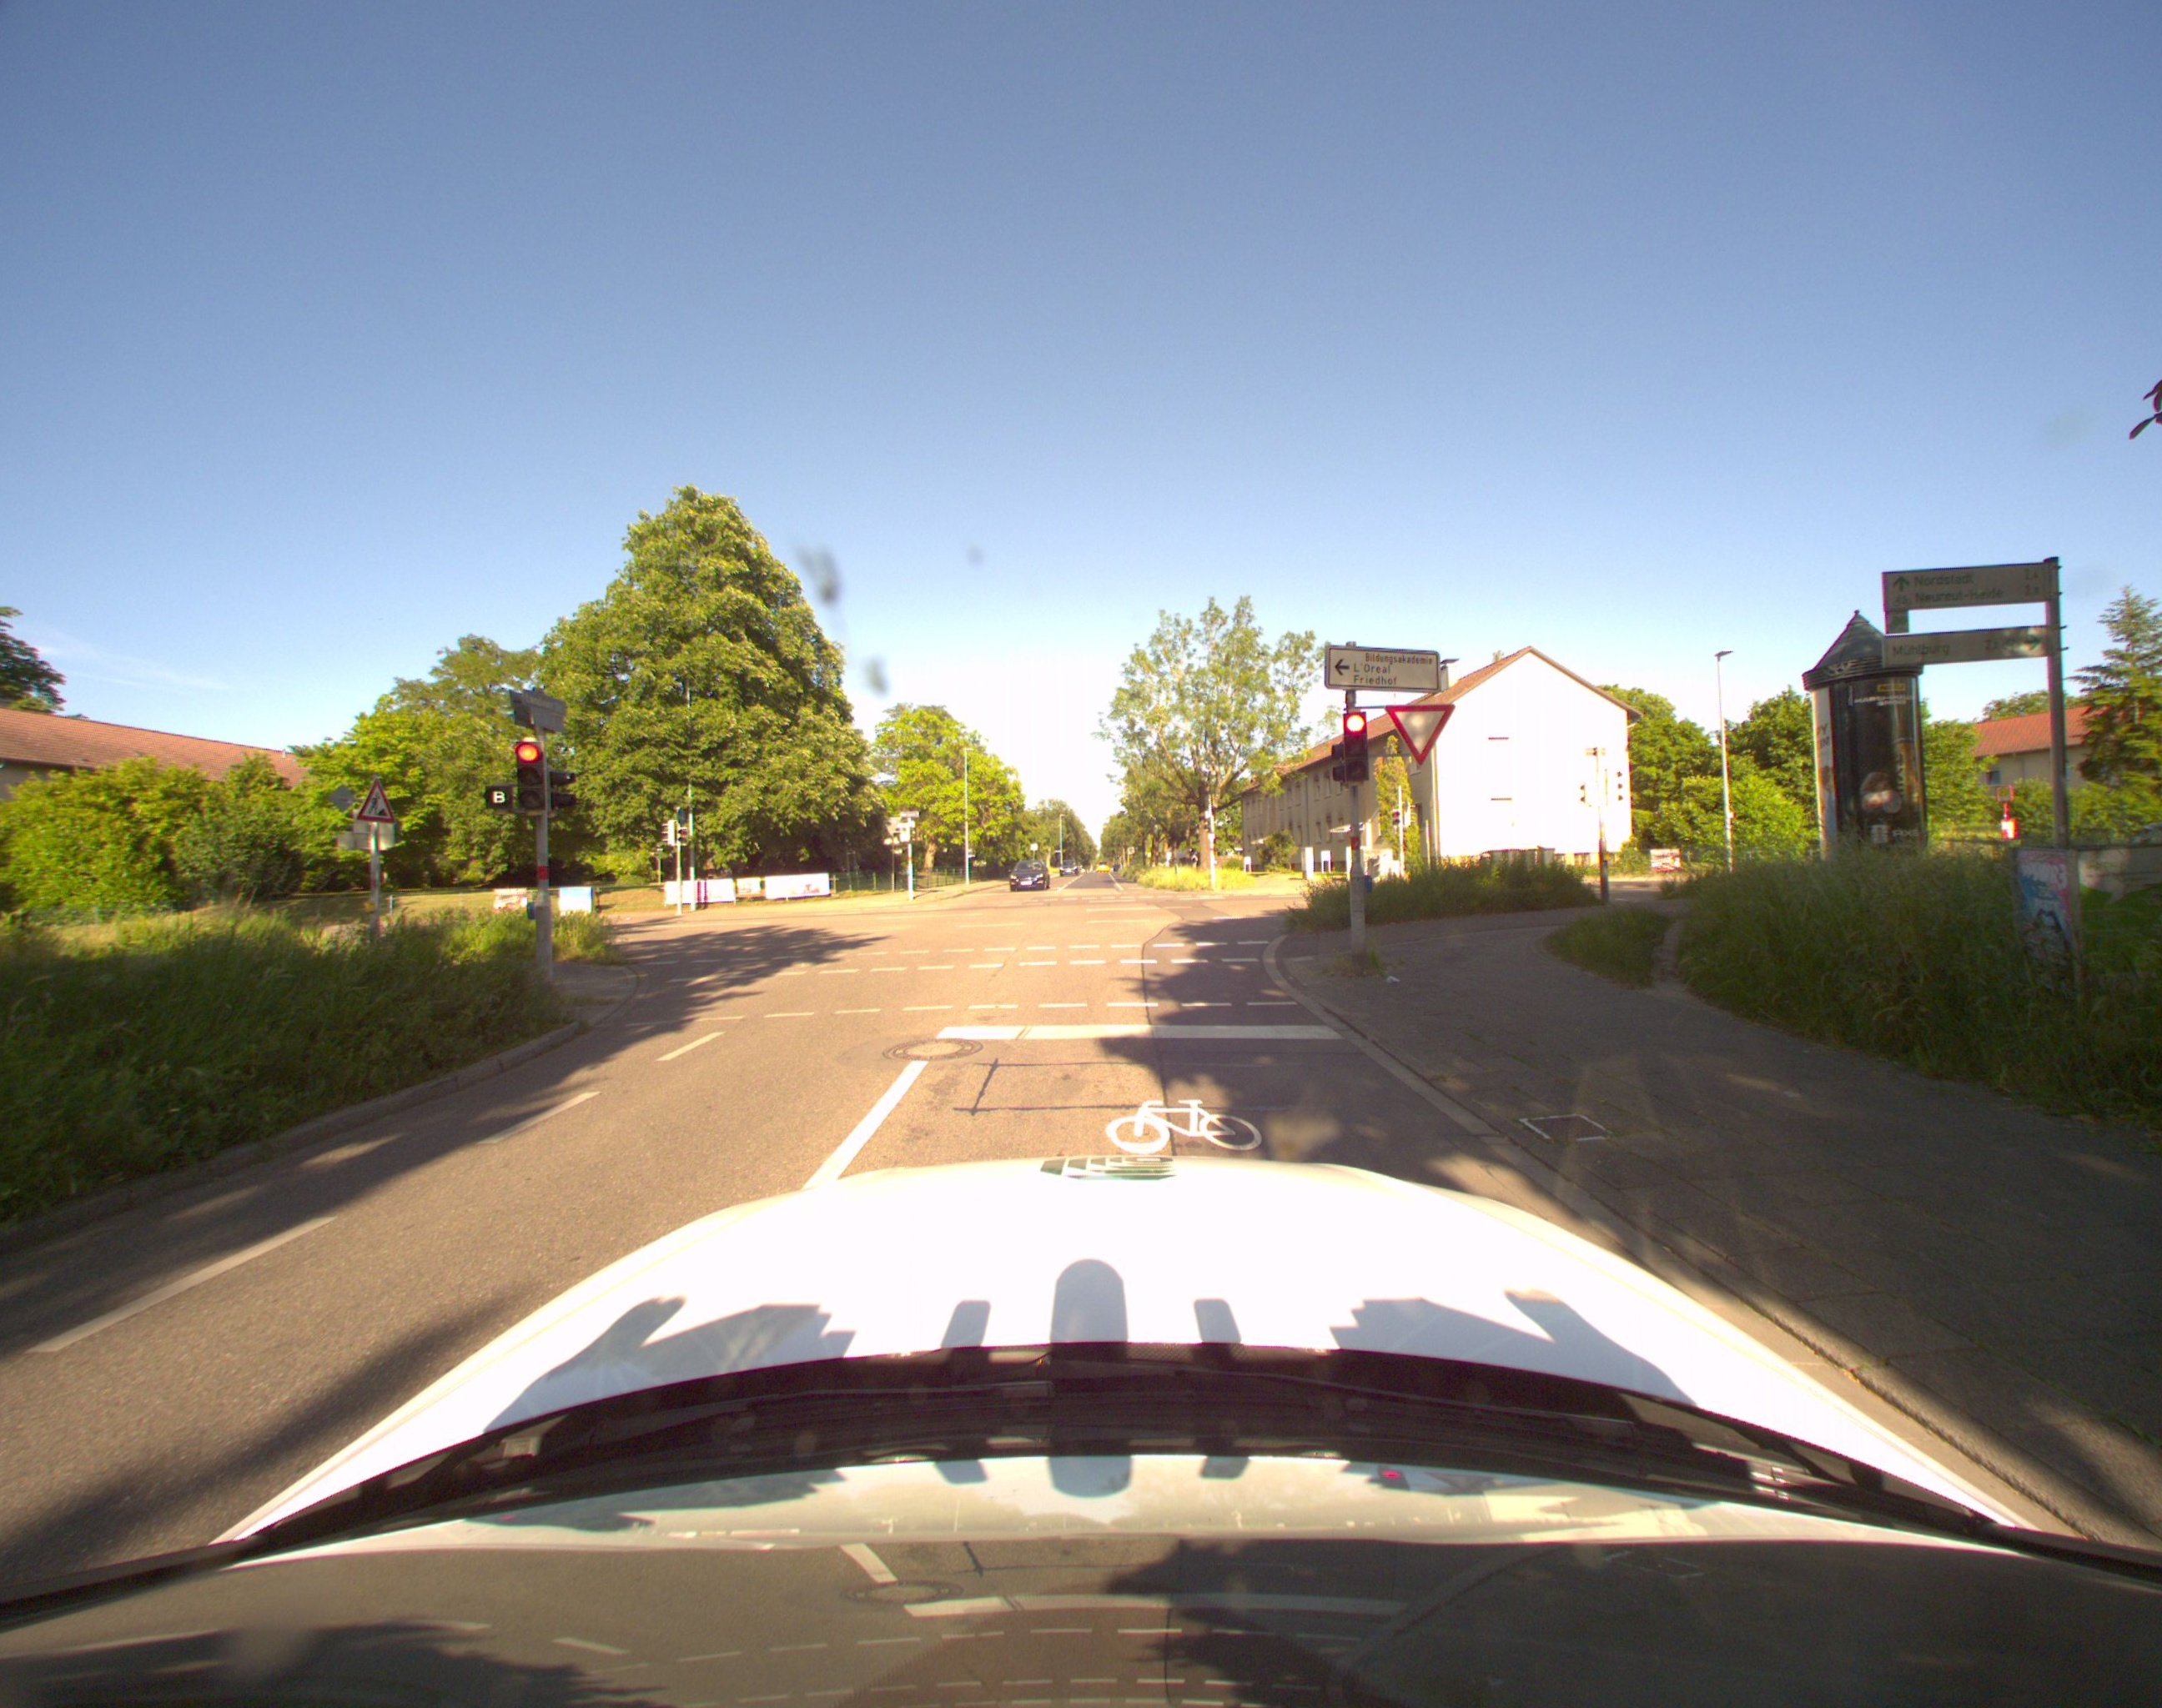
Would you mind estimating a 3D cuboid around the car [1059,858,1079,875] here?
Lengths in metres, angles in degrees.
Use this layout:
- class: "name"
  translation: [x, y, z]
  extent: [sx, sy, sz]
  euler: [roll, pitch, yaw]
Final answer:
- class: "car"
  translation: [-1.211, 1.210, 82.977]
  extent: [1.751, 1.624, 3.271]
  euler: [-2, 0, 3]

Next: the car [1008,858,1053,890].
- class: "car"
  translation: [-2.375, 0.923, 38.820]
  extent: [1.704, 1.385, 3.473]
  euler: [-2, 0, 3]

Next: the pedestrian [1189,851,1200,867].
- class: "pedestrian"
  translation: [10.535, 0.451, 75.609]
  extent: [0.839, 1.493, 0.924]
  euler: [1, 0, 1]

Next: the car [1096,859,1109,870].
- class: "car"
  translation: [3.110, 1.513, 117.884]
  extent: [1.745, 1.582, 4.002]
  euler: [-1, -1, 2]
